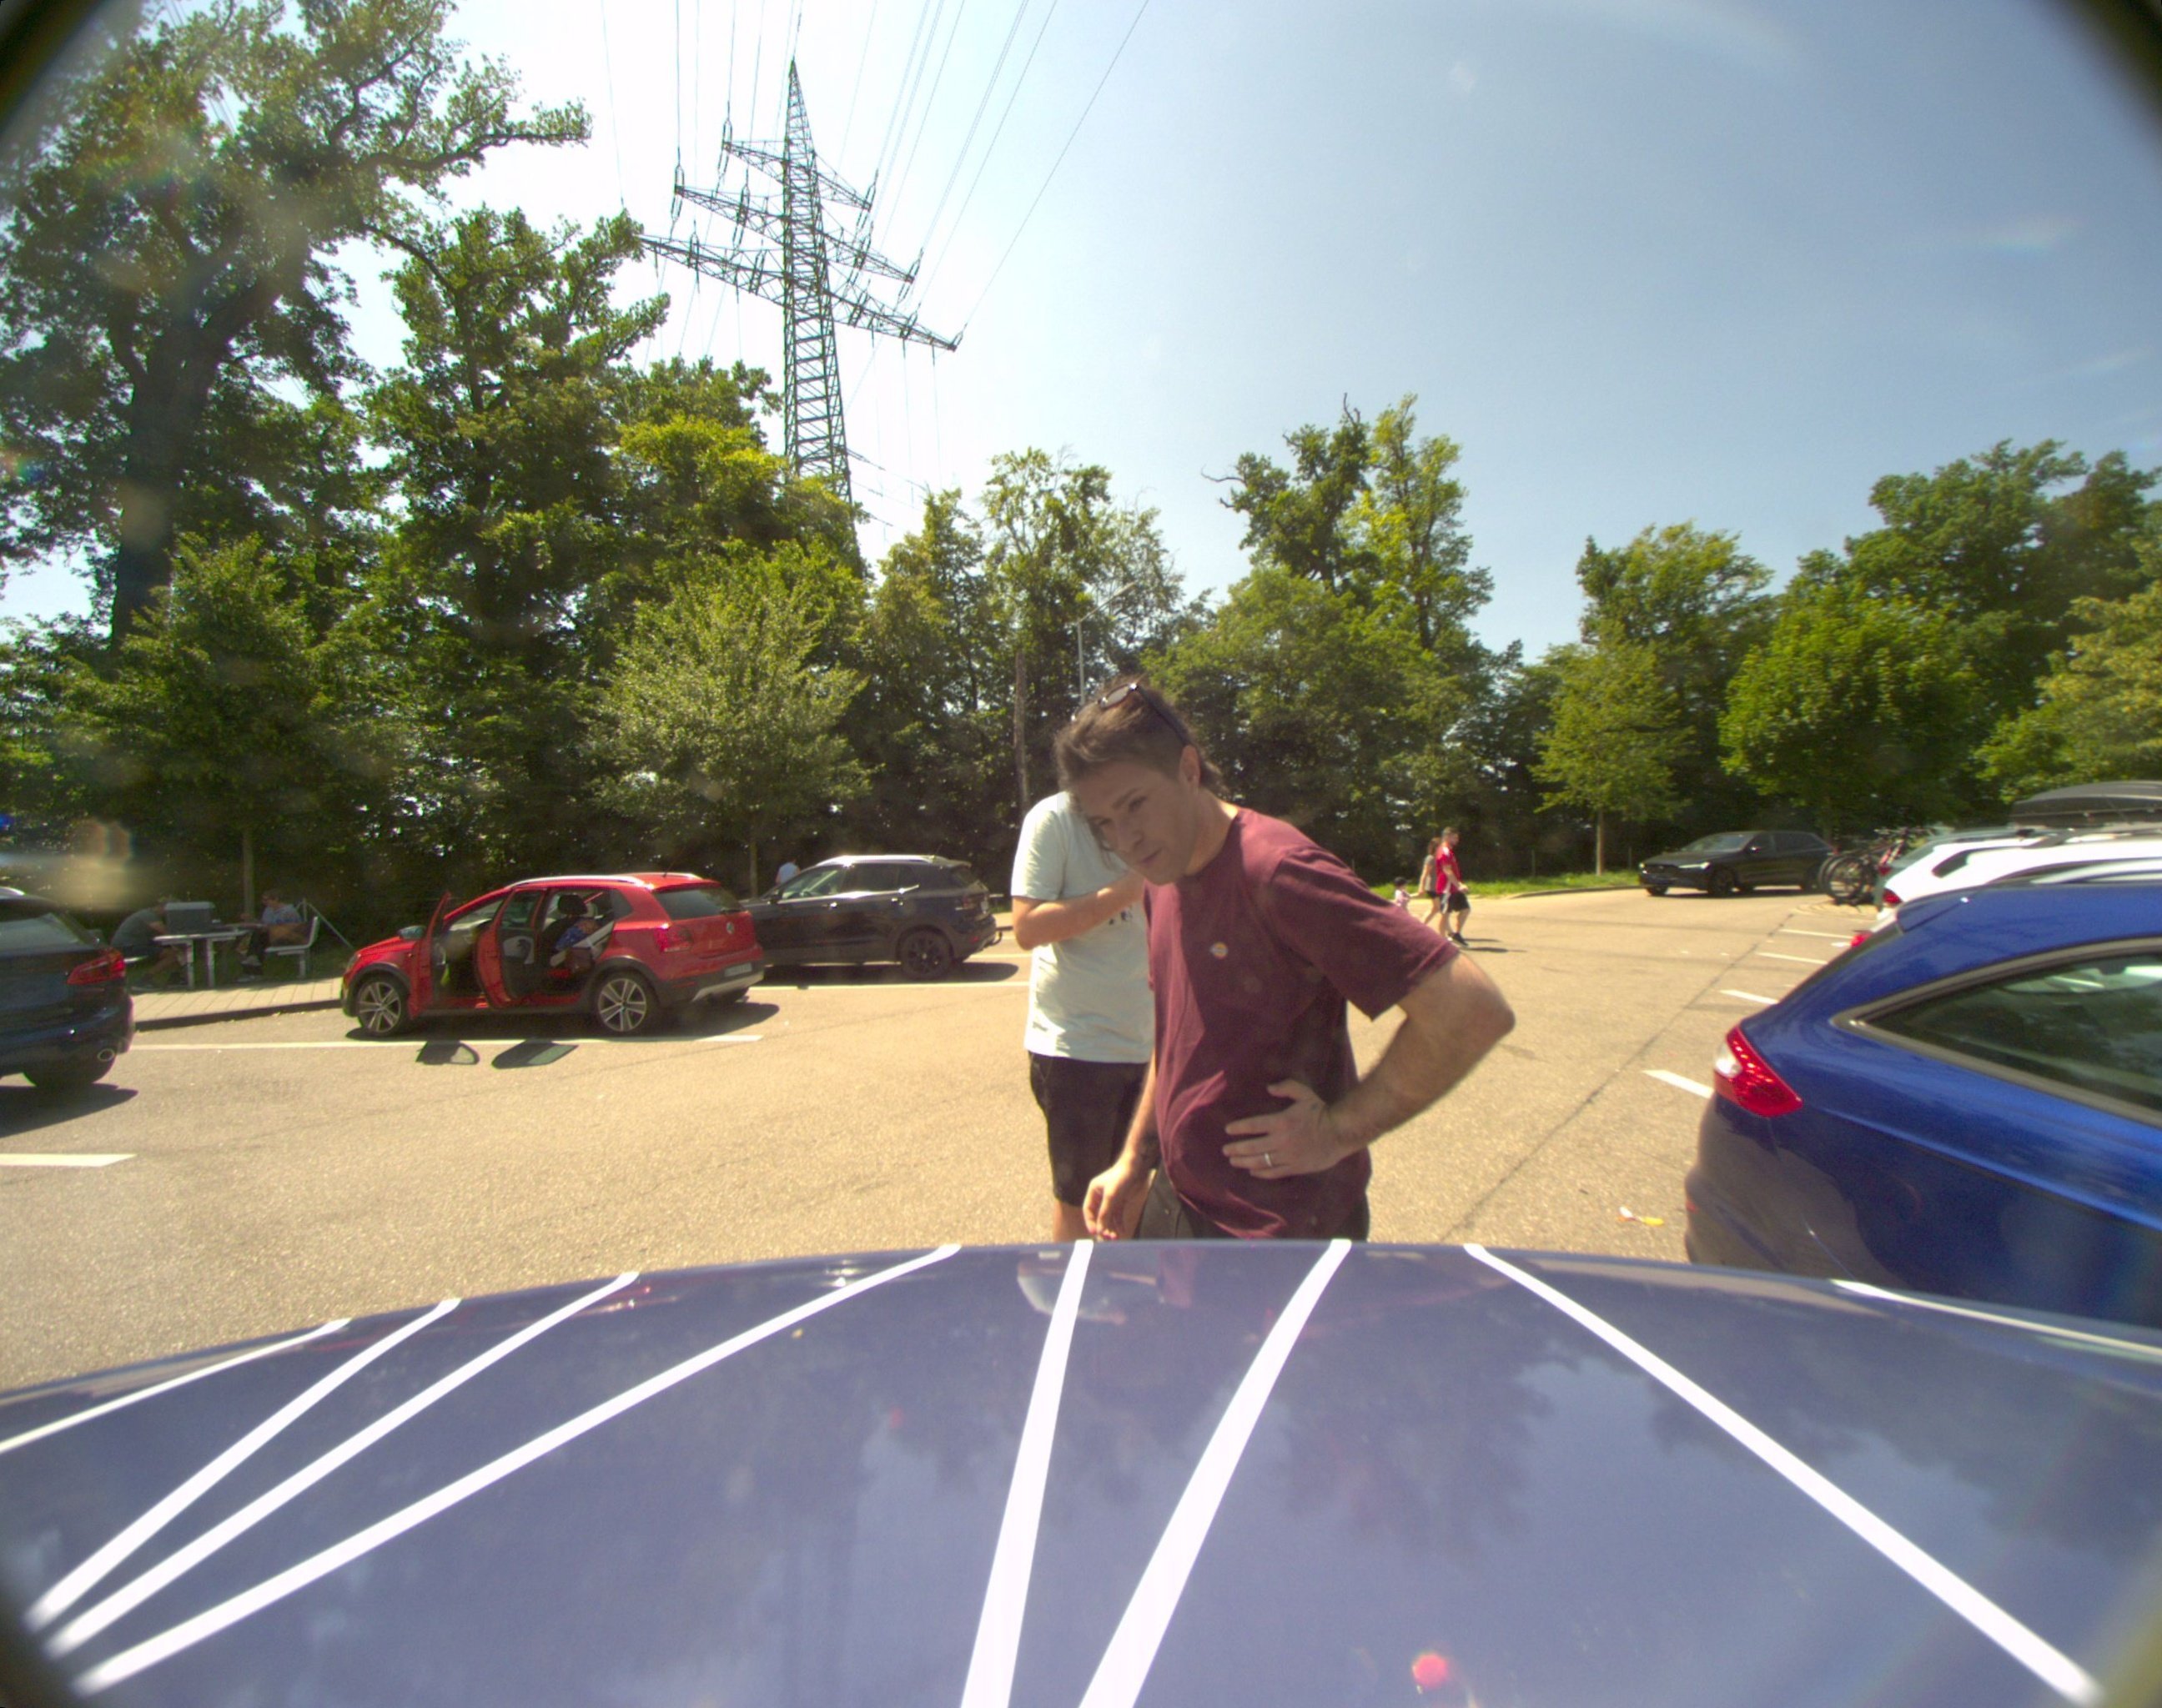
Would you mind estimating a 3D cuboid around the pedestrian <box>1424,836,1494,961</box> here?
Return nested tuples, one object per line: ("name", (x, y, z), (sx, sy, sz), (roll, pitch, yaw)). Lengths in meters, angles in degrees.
("pedestrian", (5.451, 0.620, 10.956), (0.831, 1.722, 0.677), (-2, 1, 28))

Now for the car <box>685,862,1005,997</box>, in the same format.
("car", (-3.033, 0.951, 10.314), (3.732, 1.578, 1.739), (-2, 0, 2))

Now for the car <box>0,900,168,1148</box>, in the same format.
("car", (-8.884, 1.166, 4.992), (3.934, 1.534, 1.812), (-2, 0, 7))

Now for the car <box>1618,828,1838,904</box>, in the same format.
("car", (16.807, 0.270, 19.814), (4.619, 1.703, 1.997), (-2, 1, -13))

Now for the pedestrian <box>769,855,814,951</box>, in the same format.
("pedestrian", (-5.729, 0.948, 15.043), (0.521, 1.821, 0.763), (-3, 2, -41))

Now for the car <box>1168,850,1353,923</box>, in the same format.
("car", (4.143, 0.744, 18.010), (3.996, 1.495, 1.687), (-2, 1, 3))

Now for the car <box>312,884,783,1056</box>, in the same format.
("car", (-5.189, 1.094, 7.637), (3.730, 1.440, 1.591), (-2, 0, 7))

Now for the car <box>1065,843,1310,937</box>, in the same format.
("car", (2.139, 0.714, 15.472), (4.619, 1.701, 1.740), (-2, 0, 9))

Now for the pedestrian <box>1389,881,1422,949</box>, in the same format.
("pedestrian", (5.164, 0.964, 12.107), (0.433, 1.038, 0.440), (-2, 0, 21))

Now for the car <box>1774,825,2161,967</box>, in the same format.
("car", (12.540, 0.477, 10.372), (1.777, 1.541, 4.493), (-3, -1, -5))

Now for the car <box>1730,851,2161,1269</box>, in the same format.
("car", (4.873, 0.742, 2.355), (1.776, 1.491, 4.495), (-3, -1, -1))

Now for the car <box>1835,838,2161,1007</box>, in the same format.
("car", (10.109, 0.571, 6.900), (1.777, 1.418, 4.493), (-3, -1, -5))

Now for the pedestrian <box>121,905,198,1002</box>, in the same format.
("pedestrian", (-12.632, 1.345, 10.438), (0.695, 1.228, 0.588), (-3, 0, 43))

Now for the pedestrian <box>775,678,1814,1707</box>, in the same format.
("pedestrian", (0.225, 0.777, 1.104), (0.863, 1.823, 0.861), (-2, 1, 5))

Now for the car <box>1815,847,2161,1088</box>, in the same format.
("car", (7.476, 0.674, 4.514), (1.776, 1.418, 4.495), (-3, -1, -1))

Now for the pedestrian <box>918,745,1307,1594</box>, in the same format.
("pedestrian", (0.047, 0.721, 2.137), (0.861, 1.940, 0.688), (-2, 1, -8))

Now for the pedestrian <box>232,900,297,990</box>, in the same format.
("pedestrian", (-11.951, 1.311, 11.127), (0.695, 1.228, 0.588), (-3, 0, 43))

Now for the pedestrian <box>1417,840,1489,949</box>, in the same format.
("pedestrian", (5.885, 0.629, 12.057), (0.832, 1.653, 0.676), (-2, 0, 11))
